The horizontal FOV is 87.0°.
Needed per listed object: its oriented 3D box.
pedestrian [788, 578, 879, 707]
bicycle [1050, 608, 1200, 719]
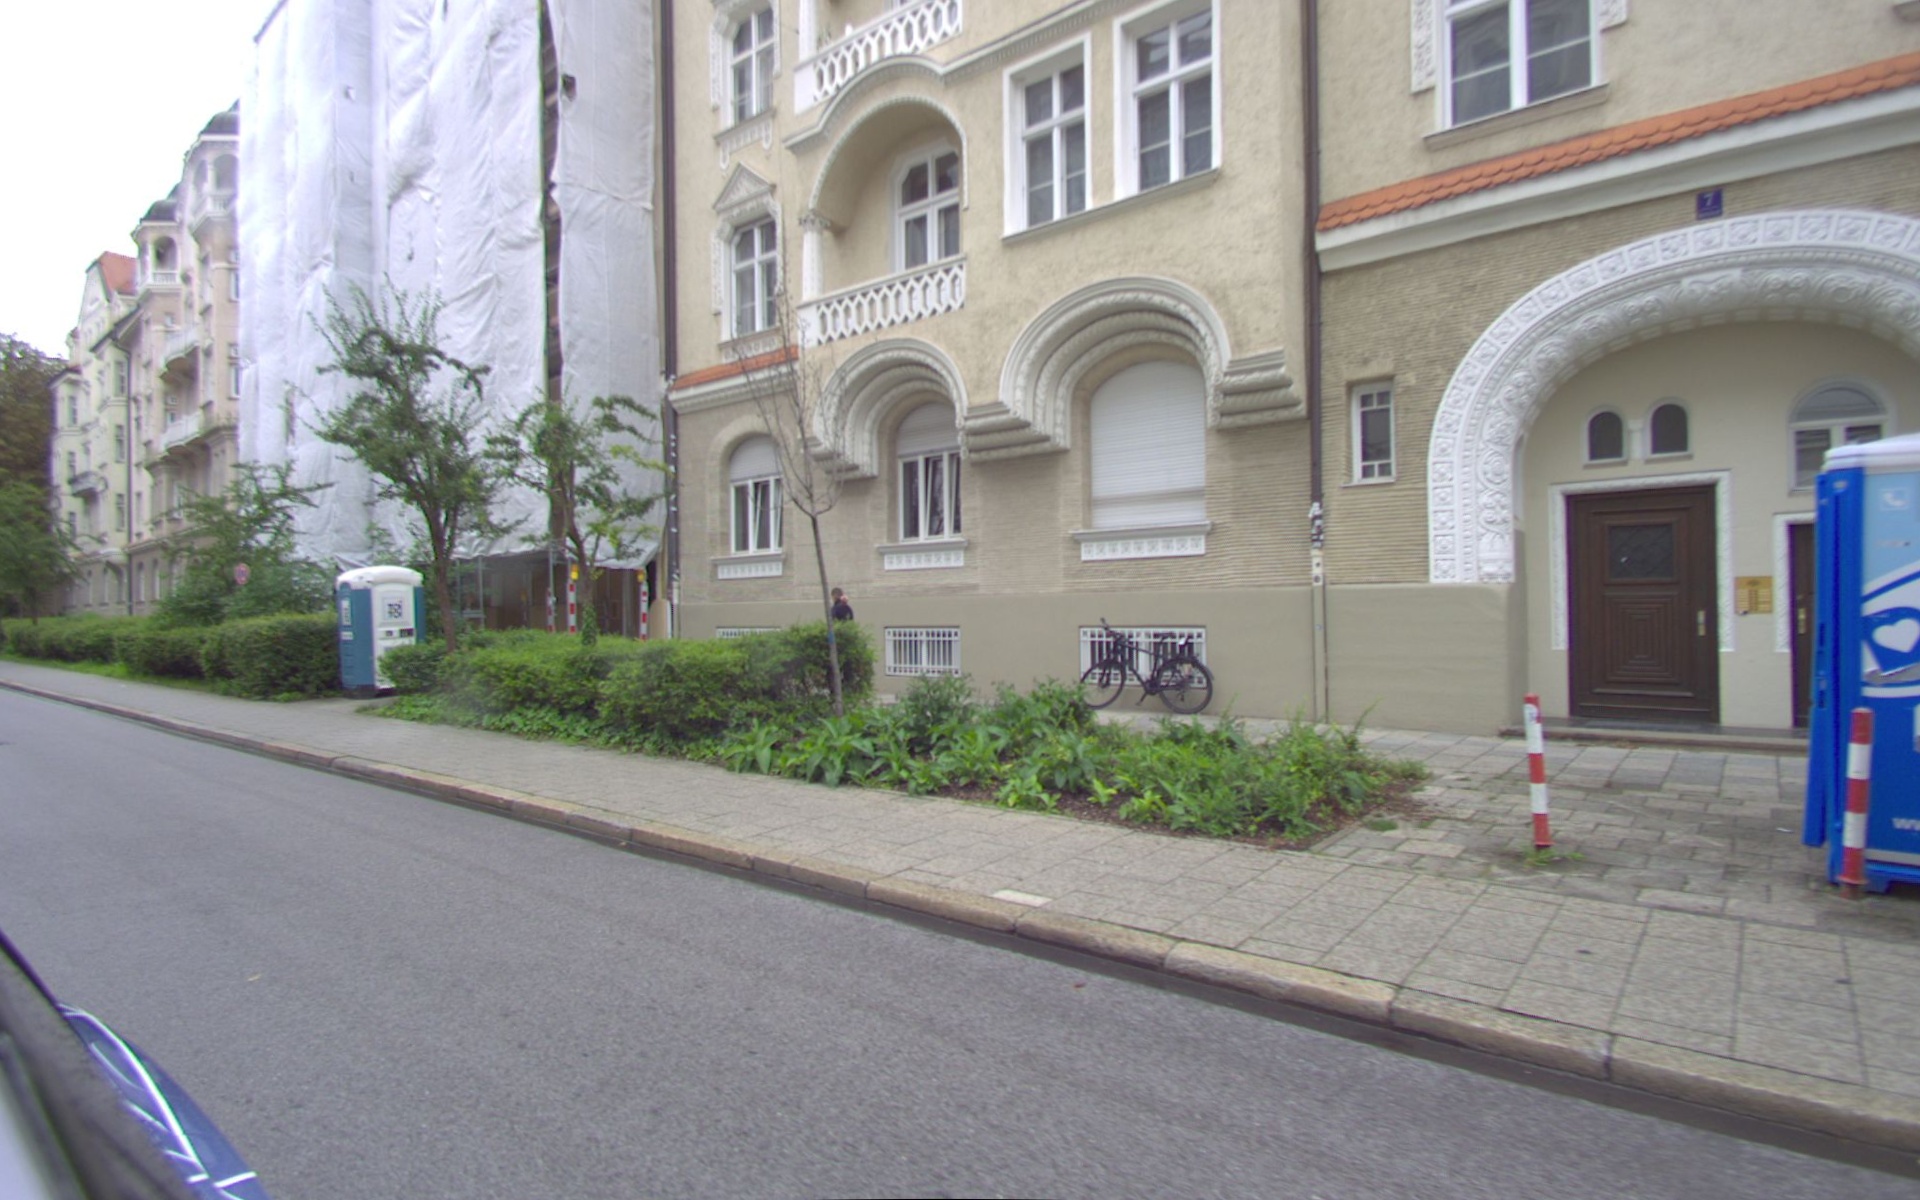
[{"bbox_3d":[-1.813,0.588,14.525,0.947,1.765,0.904,-1,-1,40],"label":"pedestrian"},{"bbox_3d":[2.043,0.764,12.670,1.702,1.285,0.737,-2,-1,41],"label":"bicycle"}]
